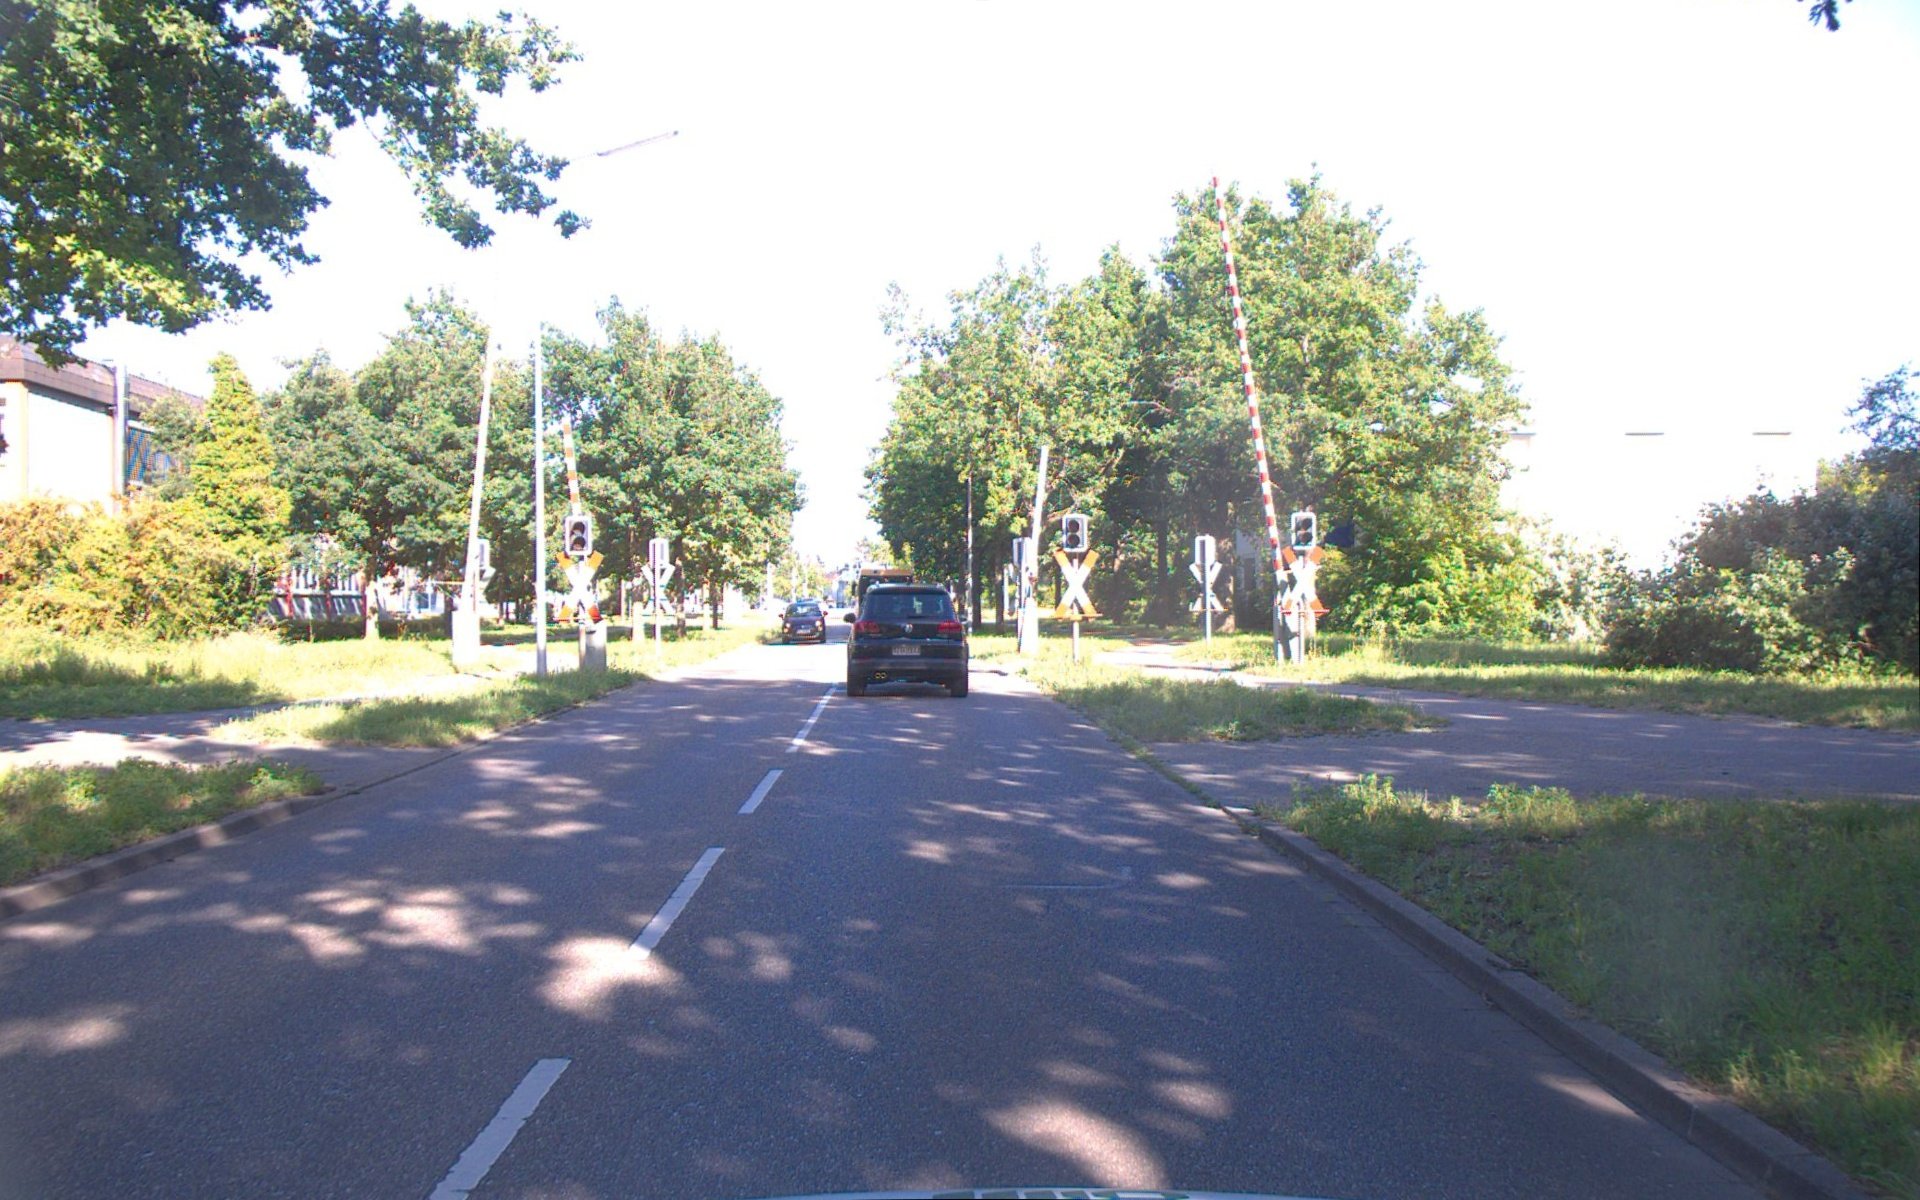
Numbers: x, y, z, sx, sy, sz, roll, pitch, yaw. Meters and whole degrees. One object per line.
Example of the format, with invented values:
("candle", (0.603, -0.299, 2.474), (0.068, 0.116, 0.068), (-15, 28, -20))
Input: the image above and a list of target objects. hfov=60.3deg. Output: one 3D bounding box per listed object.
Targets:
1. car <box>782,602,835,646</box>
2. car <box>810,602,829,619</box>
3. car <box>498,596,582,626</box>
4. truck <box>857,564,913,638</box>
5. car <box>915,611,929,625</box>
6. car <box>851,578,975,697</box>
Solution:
("car", (-5.586, 0.855, 61.318), (1.533, 1.531, 4.000), (1, 0, 1))
("car", (-16.989, 1.235, 199.535), (1.956, 2.049, 3.992), (1, 0, -9))
("car", (-29.723, 0.775, 117.336), (5.691, 2.049, 1.993), (1, 0, -14))
("truck", (-3.548, 0.039, 79.435), (2.461, 3.300, 8.150), (-1, 0, -1))
("car", (-4.205, 1.977, 181.267), (1.423, 1.430, 2.854), (1, 0, -3))
("car", (-0.703, 0.539, 25.672), (1.746, 1.662, 3.999), (1, 0, -1))
